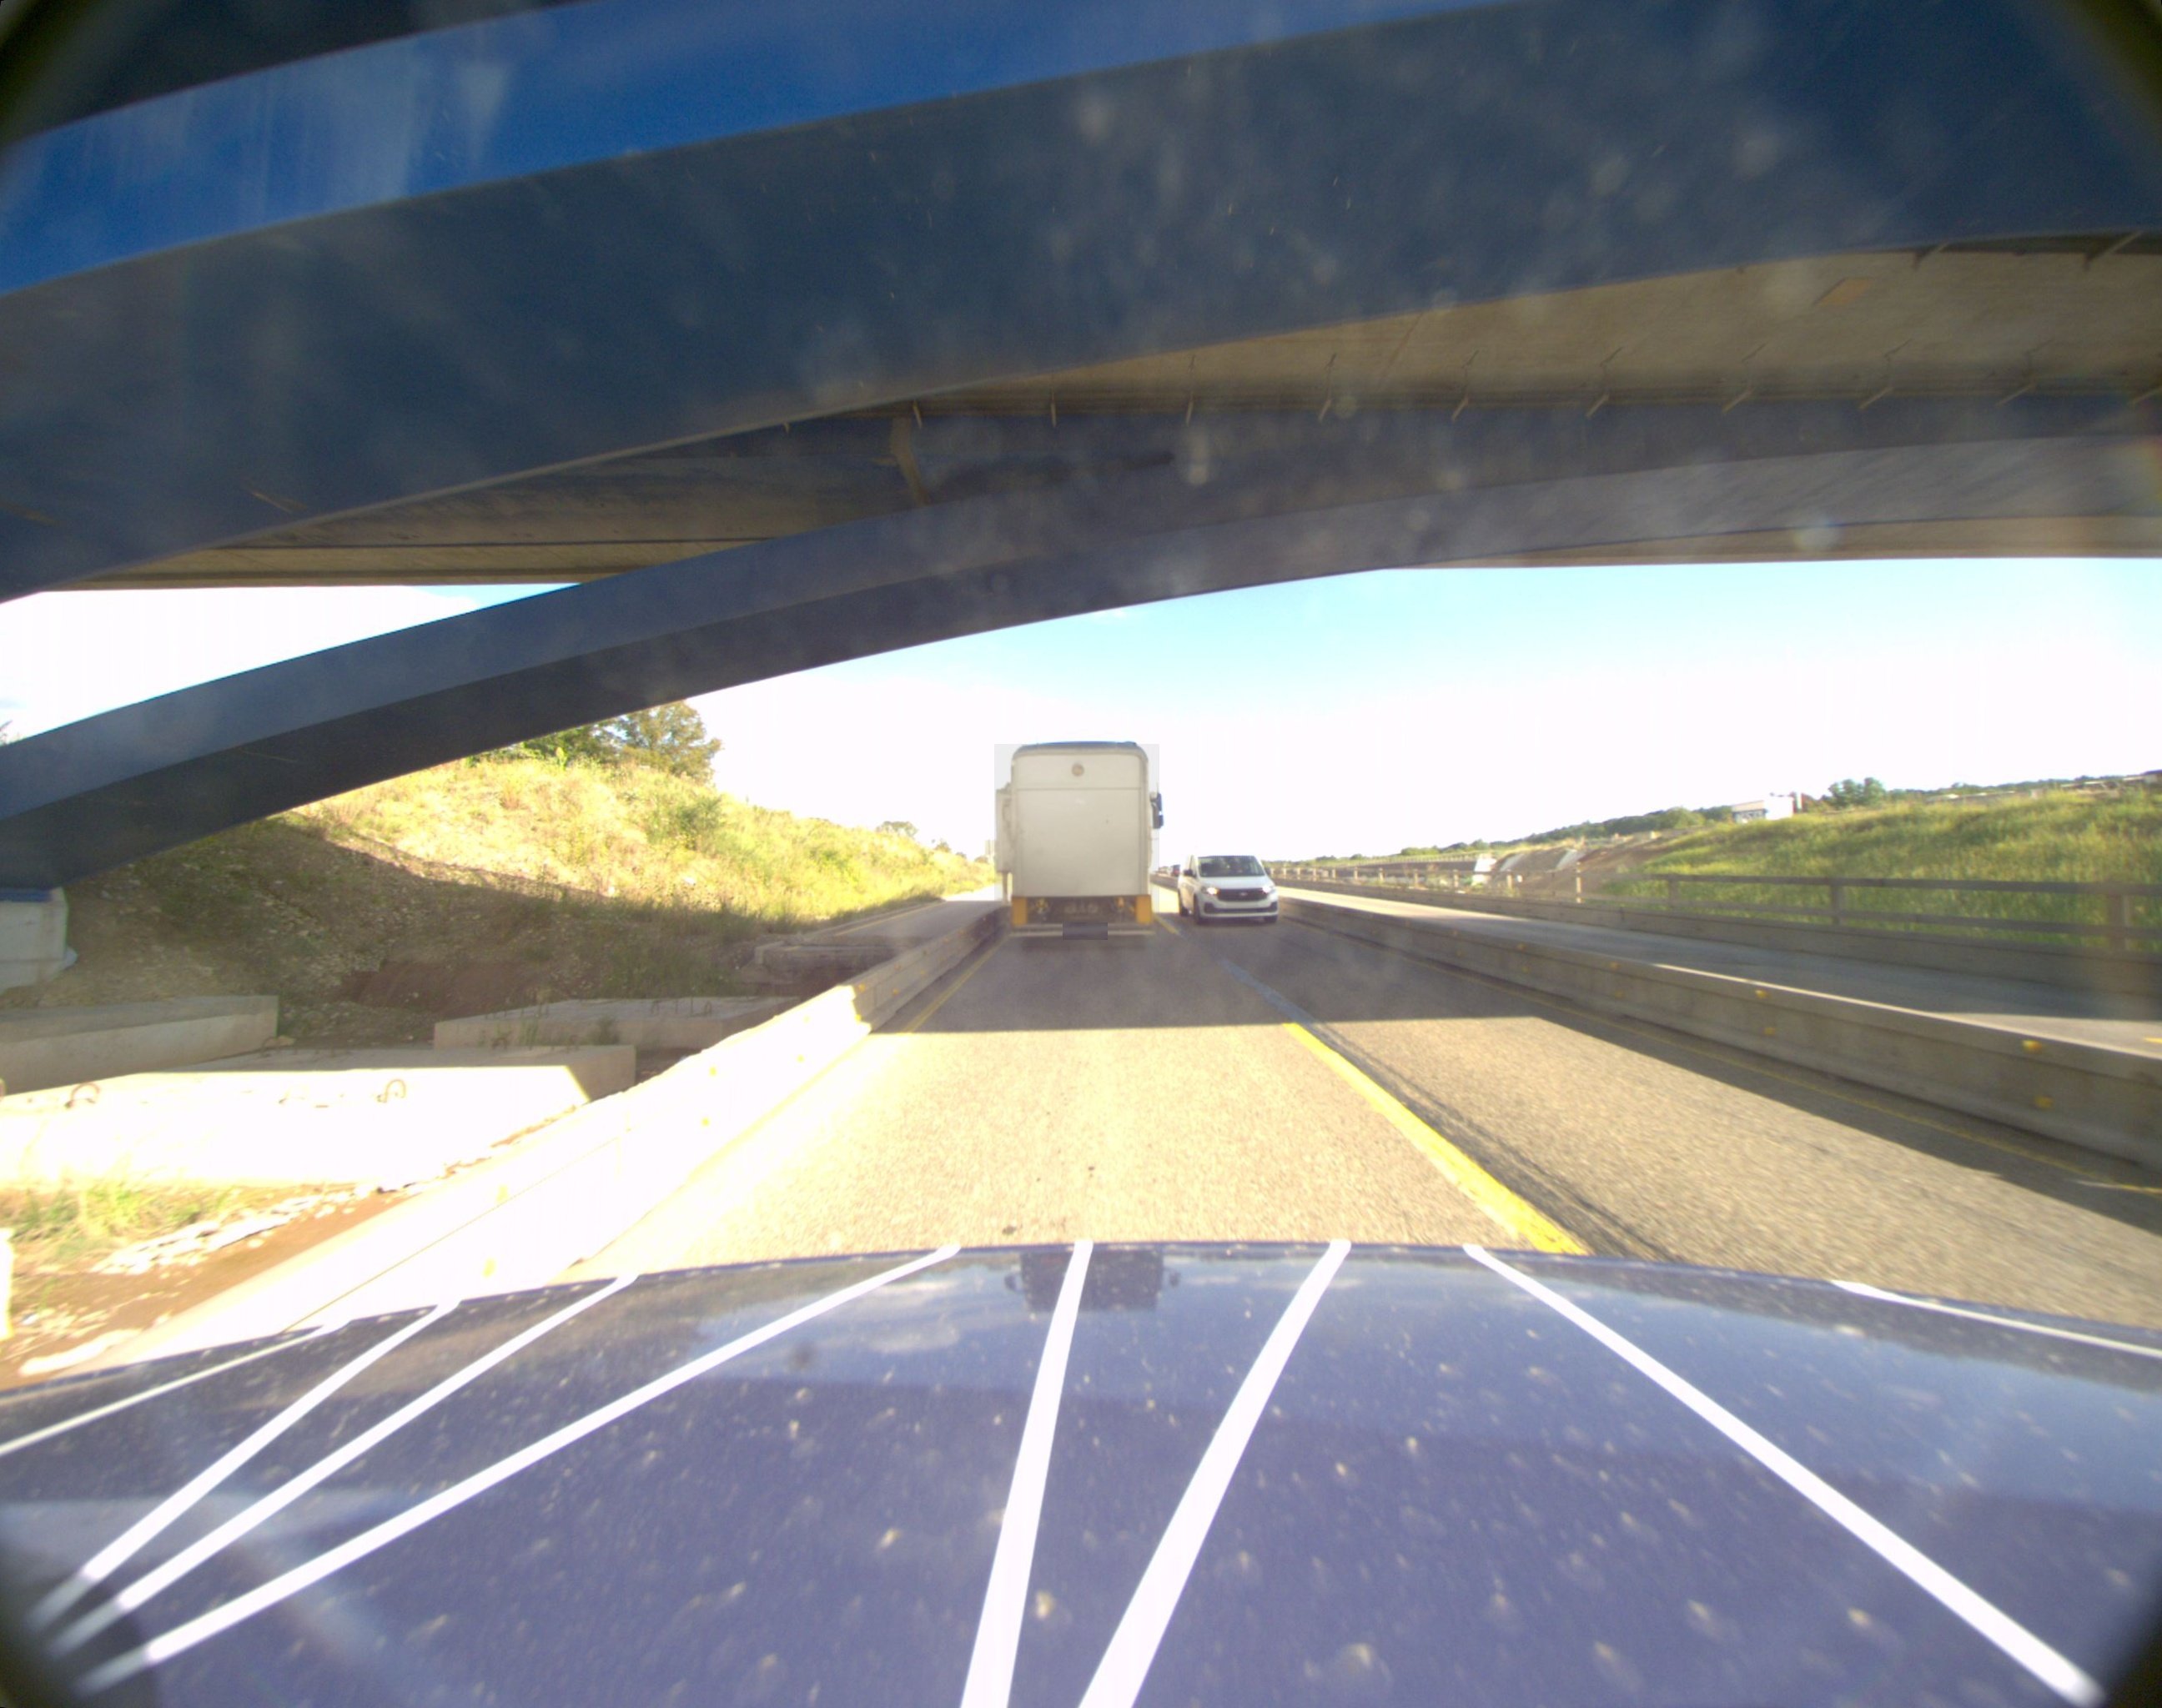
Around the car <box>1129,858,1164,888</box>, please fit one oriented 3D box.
[{"bbox_3d":[3.603,0.999,42.355,1.719,1.499,4.000,-2,0,2],"label":"car"}]

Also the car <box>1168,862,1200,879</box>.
[{"bbox_3d":[7.172,1.139,53.308,1.672,1.149,4.218,1,0,1],"label":"car"}]

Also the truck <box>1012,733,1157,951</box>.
[{"bbox_3d":[0.005,-0.211,17.895,2.546,3.899,8.278,-1,0,-1],"label":"truck"}]

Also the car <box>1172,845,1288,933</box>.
[{"bbox_3d":[3.468,0.762,18.564,1.828,1.813,4.456,-2,0,-1],"label":"car"}]
